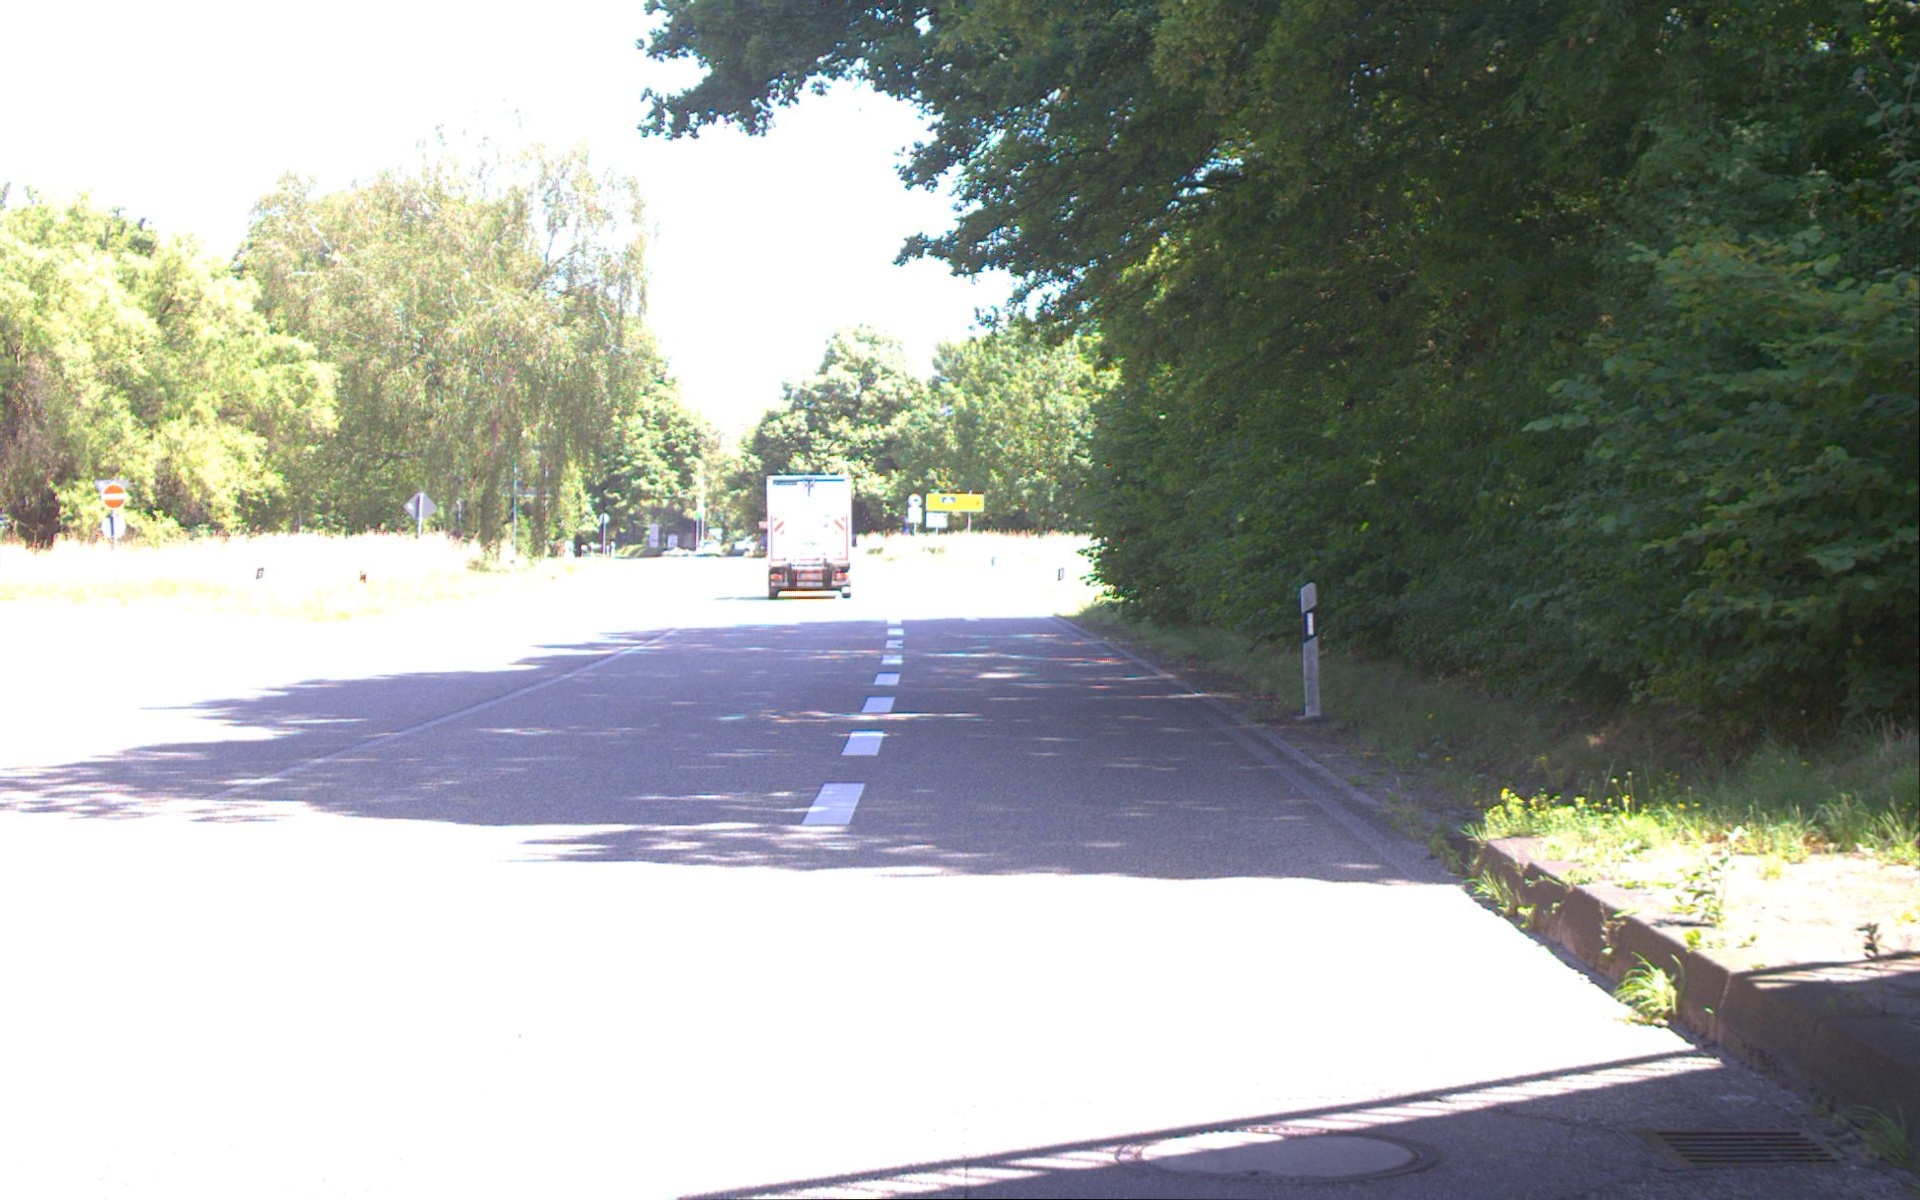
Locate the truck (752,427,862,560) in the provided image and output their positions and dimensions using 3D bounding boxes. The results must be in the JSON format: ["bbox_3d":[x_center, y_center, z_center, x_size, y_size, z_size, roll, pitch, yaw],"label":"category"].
[{"bbox_3d":[-3.702,-2.641,84.237,2.533,3.124,5.362,-1,2,-2],"label":"truck"}]
